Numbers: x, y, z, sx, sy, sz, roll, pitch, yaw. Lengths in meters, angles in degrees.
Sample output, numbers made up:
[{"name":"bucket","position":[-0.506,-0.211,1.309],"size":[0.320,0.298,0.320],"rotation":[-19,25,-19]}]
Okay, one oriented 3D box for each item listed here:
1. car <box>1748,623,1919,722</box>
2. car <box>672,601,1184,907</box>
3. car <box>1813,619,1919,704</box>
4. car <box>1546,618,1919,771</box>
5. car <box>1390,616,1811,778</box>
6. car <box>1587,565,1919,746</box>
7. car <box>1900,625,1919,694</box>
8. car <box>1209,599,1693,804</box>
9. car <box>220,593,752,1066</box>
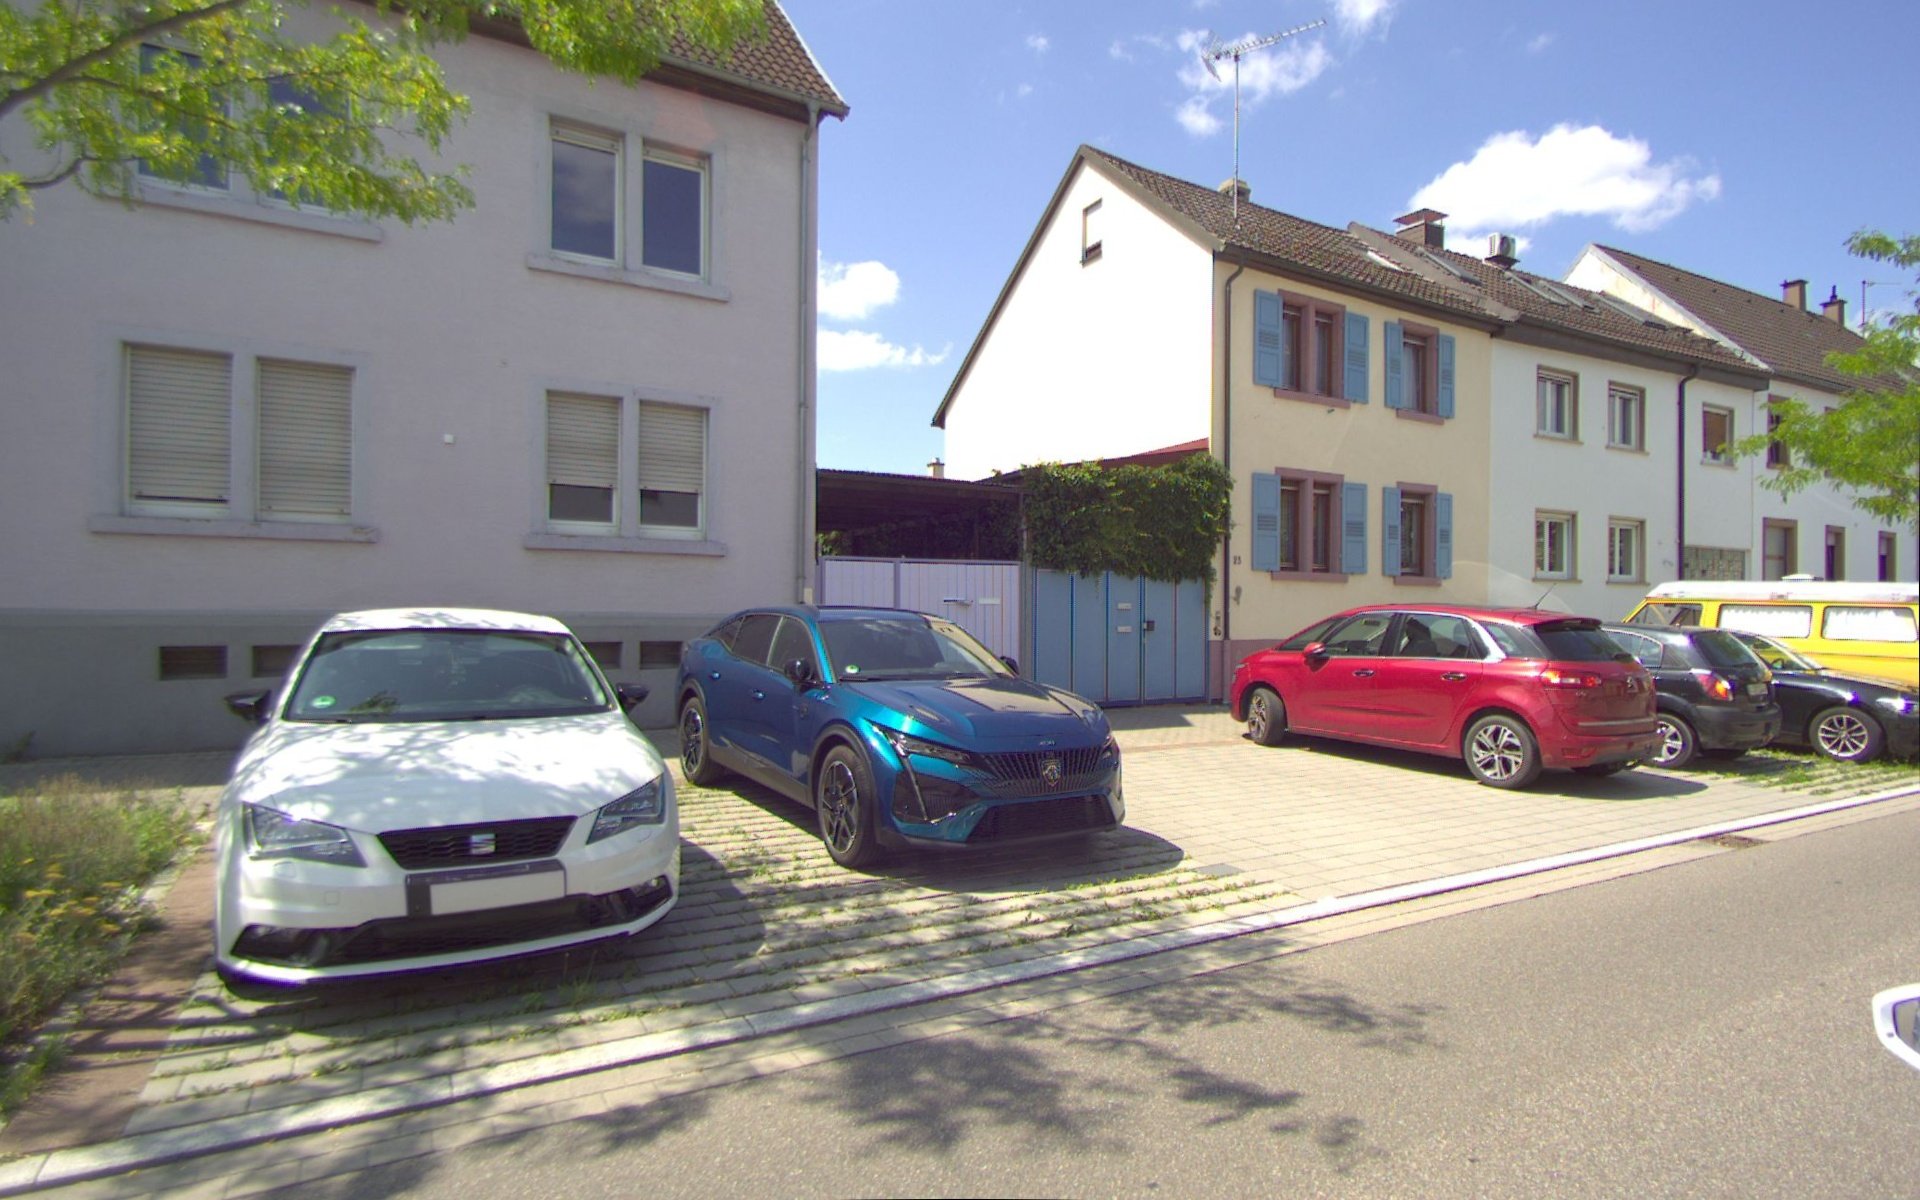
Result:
[{"name":"car","position":[15.596,1.173,16.373],"size":[1.738,1.487,4.041],"rotation":[1,0,-38]},{"name":"car","position":[-0.578,0.797,7.393],"size":[1.757,1.497,4.377],"rotation":[1,0,-33]},{"name":"car","position":[18.026,1.146,18.065],"size":[1.644,1.487,3.850],"rotation":[2,0,-38]},{"name":"car","position":[9.730,1.018,12.388],"size":[1.734,1.479,3.991],"rotation":[1,0,-29]},{"name":"car","position":[7.232,0.972,11.716],"size":[1.736,1.479,3.770],"rotation":[1,0,-32]},{"name":"car","position":[11.746,0.683,14.236],"size":[1.902,2.206,4.488],"rotation":[1,0,-29]},{"name":"car","position":[22.358,1.324,20.512],"size":[1.752,1.487,4.278],"rotation":[2,0,-28]},{"name":"car","position":[4.782,0.841,10.455],"size":[1.821,1.633,4.233],"rotation":[1,0,-30]},{"name":"car","position":[-2.673,0.741,5.403],"size":[1.756,1.497,4.031],"rotation":[1,0,-32]}]
